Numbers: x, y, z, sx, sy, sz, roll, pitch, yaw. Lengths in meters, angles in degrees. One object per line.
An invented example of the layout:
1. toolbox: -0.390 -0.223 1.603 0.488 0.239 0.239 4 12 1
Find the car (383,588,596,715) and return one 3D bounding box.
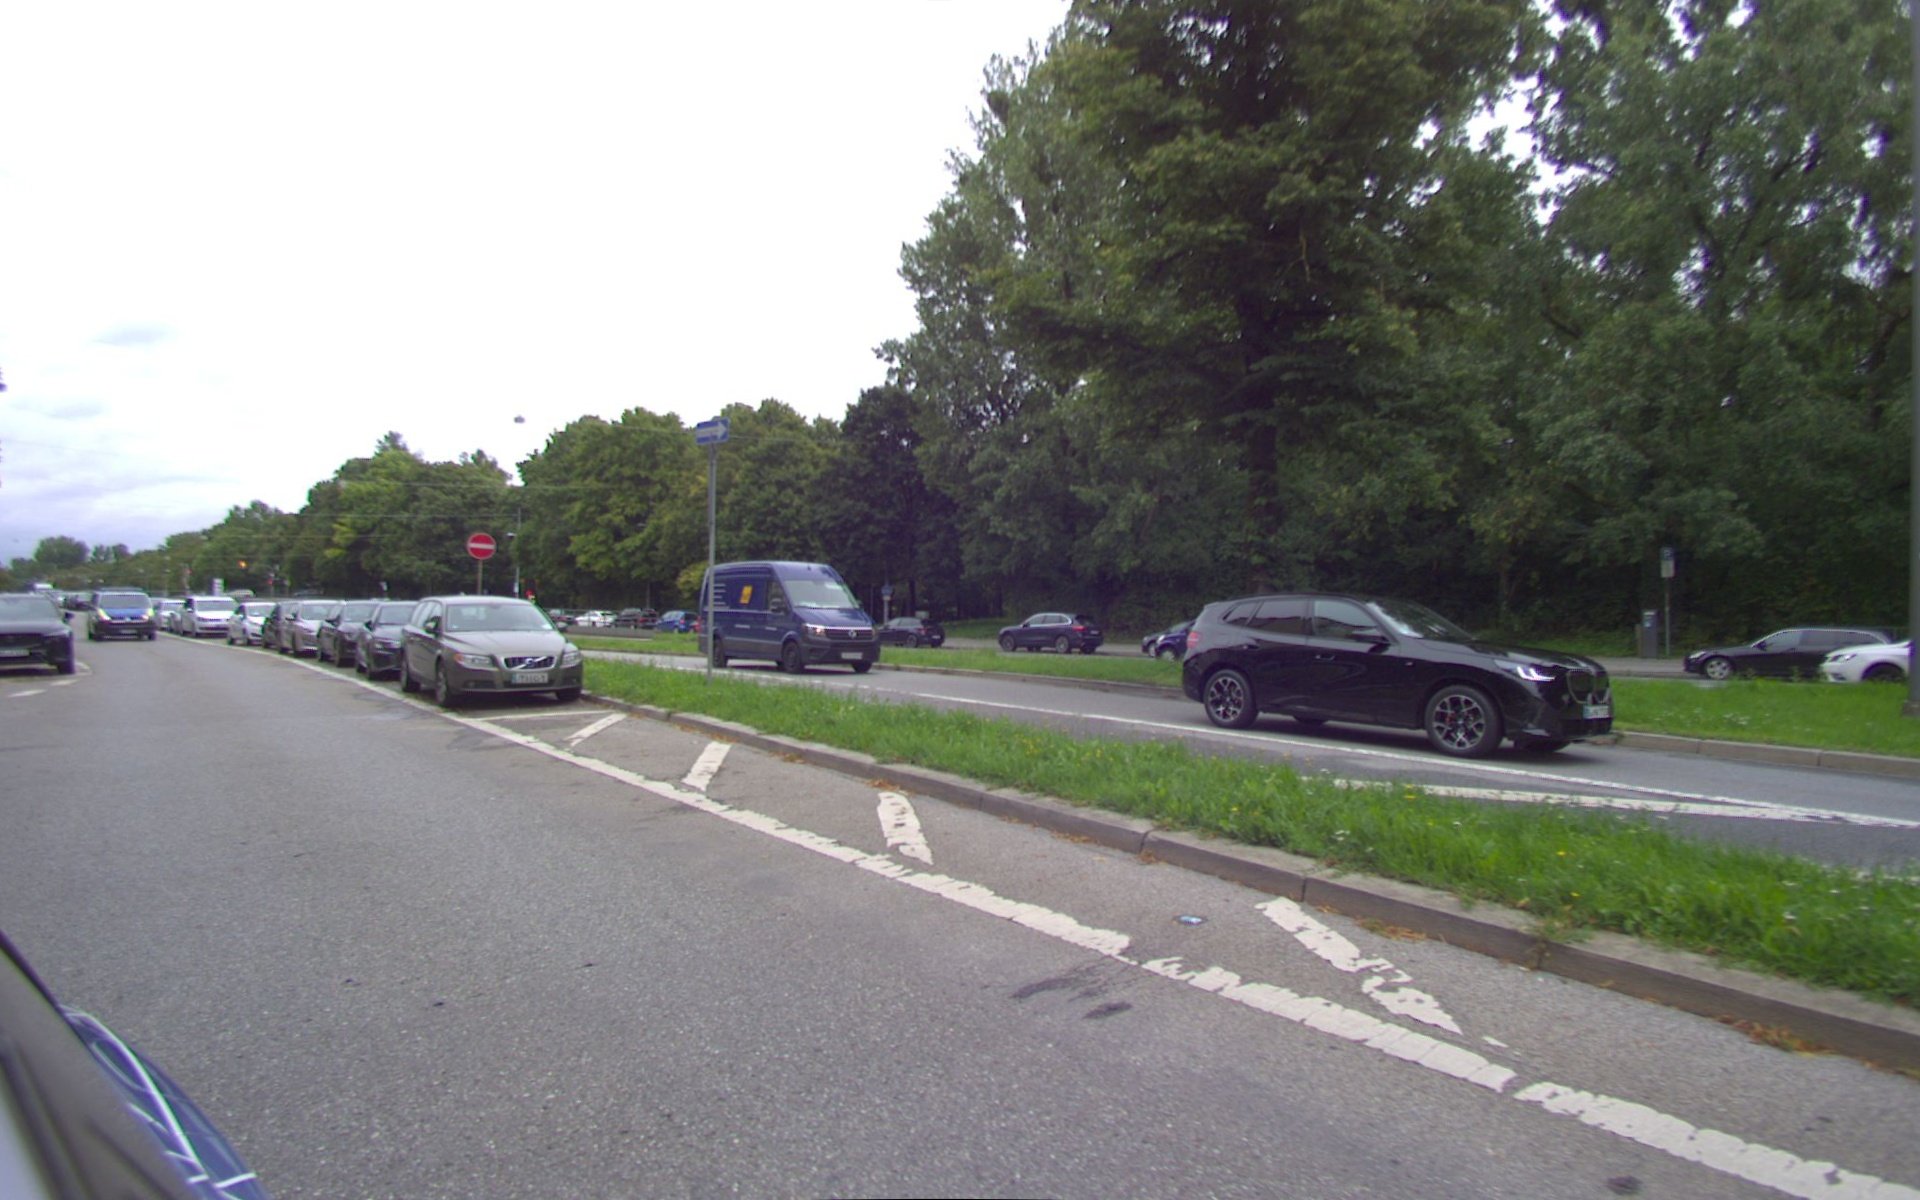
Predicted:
1. car: -7.112 0.640 14.993 1.874 1.577 4.781 1 0 -37

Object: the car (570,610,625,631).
1. car: -25.919 1.449 72.301 4.318 1.457 1.971 0 -2 43

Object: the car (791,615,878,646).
1. car: -6.457 1.533 51.636 4.526 1.457 1.971 0 -2 44

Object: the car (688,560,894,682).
1. car: -4.125 0.389 23.691 2.156 2.482 5.863 1 1 -39

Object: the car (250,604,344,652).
1. car: -20.712 0.825 31.538 1.741 1.380 4.287 1 0 -43

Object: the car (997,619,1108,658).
1. car: 3.806 1.562 42.022 4.318 1.457 1.971 0 -2 43

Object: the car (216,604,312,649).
1. car: -24.309 0.878 35.297 4.284 1.467 1.965 0 0 44

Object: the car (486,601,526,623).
1. car: -37.839 0.987 84.348 1.858 1.759 4.004 0 0 -43

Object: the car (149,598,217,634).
1. car: -38.450 0.781 50.041 4.561 1.715 2.046 0 -1 44

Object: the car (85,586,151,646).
1. car: -33.773 0.595 40.540 1.829 2.227 4.559 1 1 -42

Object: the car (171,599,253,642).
1. car: -31.956 0.828 43.187 5.092 1.715 2.046 0 0 44

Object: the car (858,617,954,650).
1. car: -2.614 1.568 48.147 4.526 1.457 1.971 0 -2 44

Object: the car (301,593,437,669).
1. car: -13.717 0.657 23.370 1.962 1.577 4.289 1 0 -41

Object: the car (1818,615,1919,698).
1. car: 18.192 1.033 18.066 4.227 1.457 1.811 0 -1 35

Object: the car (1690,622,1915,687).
1. car: 21.463 1.339 26.039 4.311 1.457 1.975 0 -1 37

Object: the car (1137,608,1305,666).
1. car: 7.006 0.950 27.351 4.030 1.457 1.872 0 -1 40

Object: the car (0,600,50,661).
1. car: -26.729 0.808 28.047 2.099 1.577 4.511 -1 1 -44

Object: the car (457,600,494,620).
1. car: -42.951 0.863 89.661 1.839 1.759 4.004 0 0 -43

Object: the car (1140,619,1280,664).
1. car: 9.007 1.462 36.699 4.526 1.457 1.971 0 -2 44

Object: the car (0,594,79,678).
1. car: -19.486 0.677 20.745 2.098 1.577 4.513 -1 0 -42

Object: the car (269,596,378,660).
1. car: -17.062 0.689 27.033 1.962 1.577 4.291 1 0 -39

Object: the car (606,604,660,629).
1. car: -22.104 1.070 68.294 1.884 1.569 4.004 1 1 -44

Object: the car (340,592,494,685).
1. car: -10.530 0.661 19.459 1.961 1.577 4.292 1 0 -37

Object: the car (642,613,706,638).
1. car: -18.288 1.608 64.616 4.318 1.457 1.971 0 -2 43

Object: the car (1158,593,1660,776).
1. car: 4.725 0.788 11.394 1.888 1.598 4.841 4 -2 -37
